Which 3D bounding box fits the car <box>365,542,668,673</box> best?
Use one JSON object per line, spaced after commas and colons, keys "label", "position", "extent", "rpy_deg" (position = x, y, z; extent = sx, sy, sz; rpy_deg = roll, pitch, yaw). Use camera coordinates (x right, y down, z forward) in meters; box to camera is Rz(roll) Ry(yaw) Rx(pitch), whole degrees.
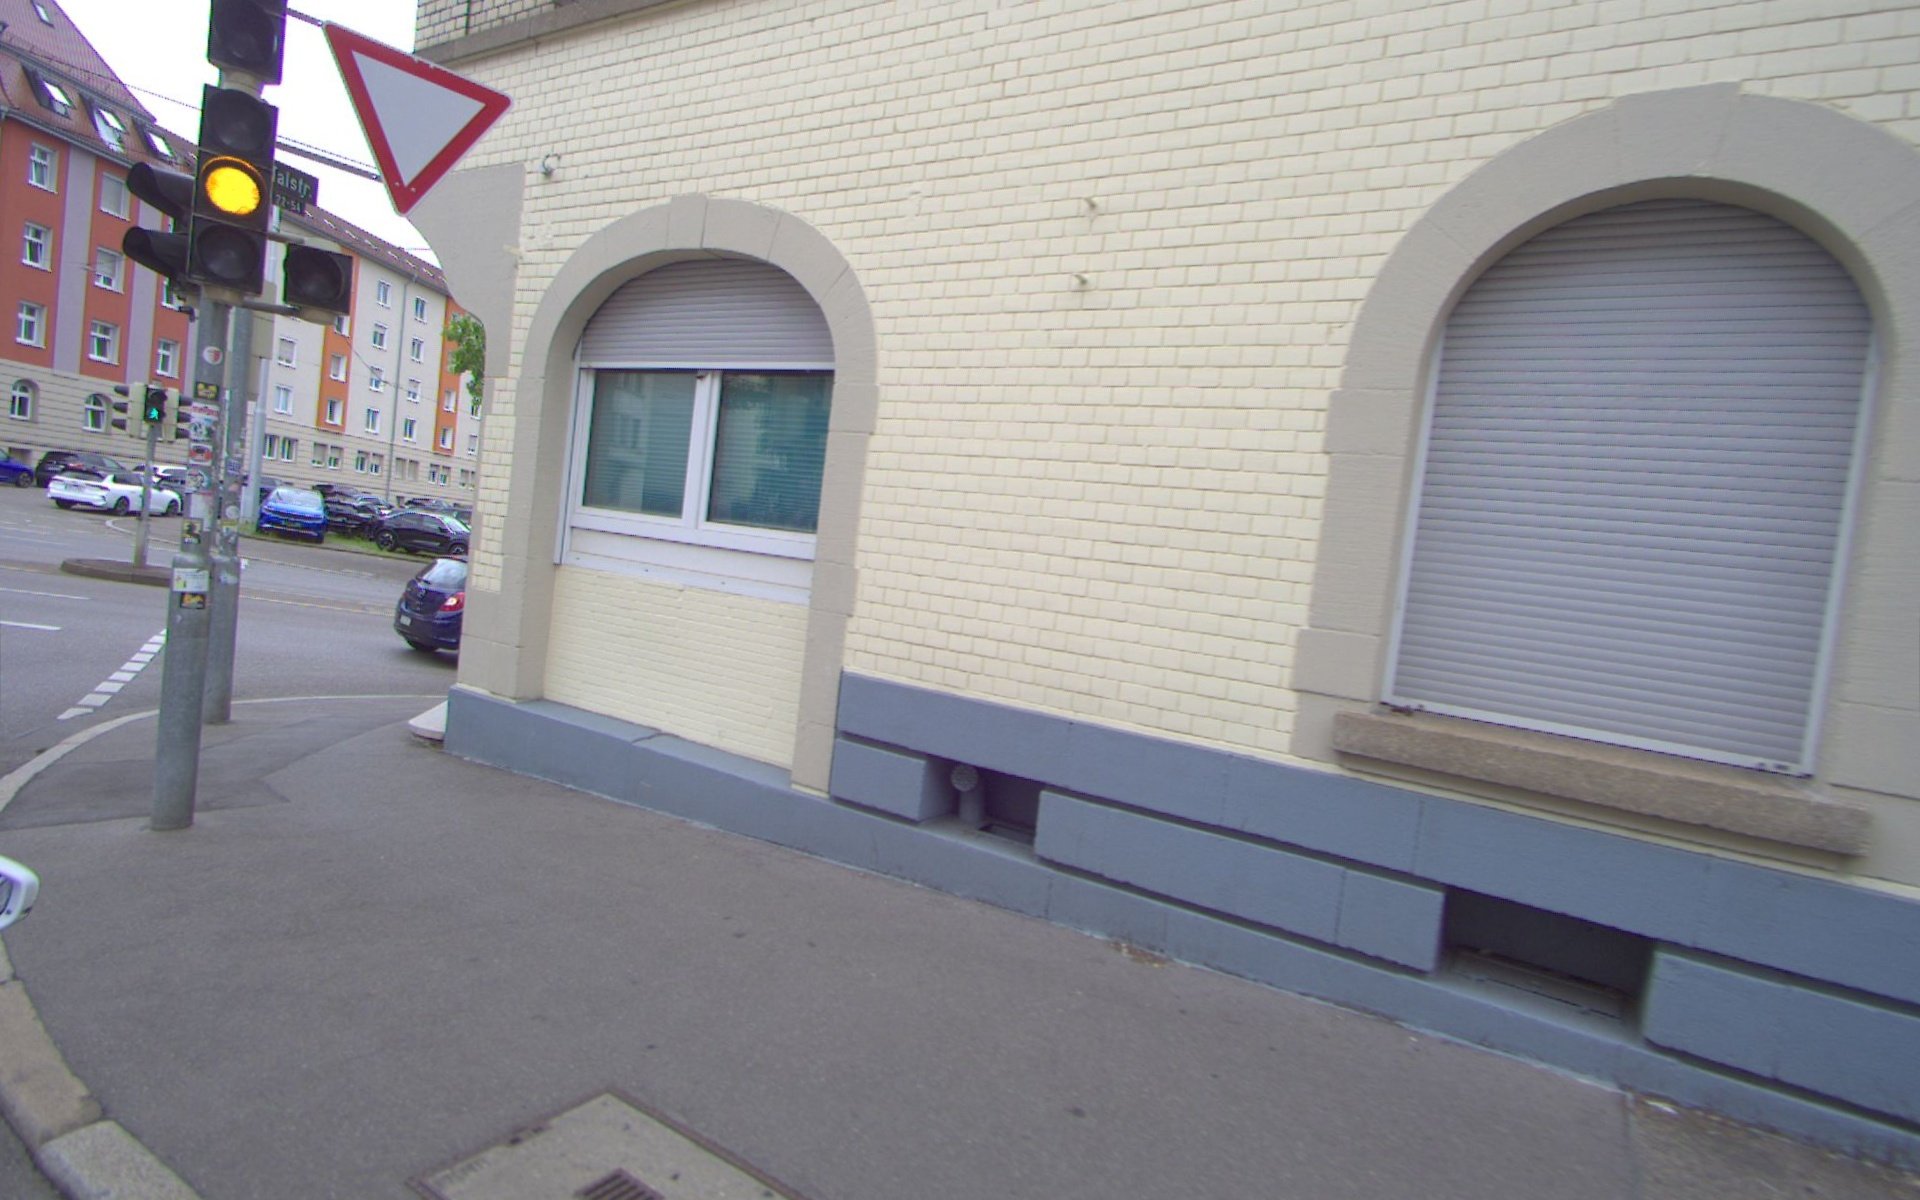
{"label": "car", "position": [-6.398, 0.200, 14.940], "extent": [1.729, 1.464, 3.749], "rpy_deg": [10, 0, 26]}

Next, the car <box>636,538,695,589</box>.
{"label": "car", "position": [-11.805, -1.489, 40.154], "extent": [1.838, 1.570, 3.977], "rpy_deg": [9, 2, -21]}

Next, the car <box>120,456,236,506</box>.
{"label": "car", "position": [-36.231, -5.464, 46.769], "extent": [1.884, 1.654, 4.137], "rpy_deg": [10, 3, 2]}

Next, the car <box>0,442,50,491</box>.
{"label": "car", "position": [-35.353, -4.928, 36.099], "extent": [1.887, 1.554, 4.129], "rpy_deg": [10, 3, -9]}

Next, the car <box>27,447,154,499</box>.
{"label": "car", "position": [-35.914, -5.200, 41.710], "extent": [1.887, 1.554, 4.130], "rpy_deg": [10, 3, -8]}

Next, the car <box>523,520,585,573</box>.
{"label": "car", "position": [-15.924, -2.122, 39.364], "extent": [1.841, 1.570, 3.970], "rpy_deg": [8, 2, -26]}

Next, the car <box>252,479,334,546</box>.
{"label": "car", "position": [-21.724, -2.909, 32.900], "extent": [1.812, 1.597, 4.220], "rpy_deg": [9, 3, -31]}

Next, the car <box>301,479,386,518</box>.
{"label": "car", "position": [-35.428, -5.797, 57.935], "extent": [1.883, 1.654, 4.138], "rpy_deg": [10, 3, 5]}

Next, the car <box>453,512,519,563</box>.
{"label": "car", "position": [-18.462, -2.494, 39.335], "extent": [1.838, 1.570, 3.977], "rpy_deg": [9, 2, -21]}

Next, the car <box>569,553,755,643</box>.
{"label": "car", "position": [-7.603, -0.055, 25.648], "extent": [4.204, 1.544, 1.988], "rpy_deg": [9, 0, -24]}

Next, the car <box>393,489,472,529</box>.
{"label": "car", "position": [-29.020, -5.003, 55.488], "extent": [1.884, 1.666, 4.136], "rpy_deg": [10, 3, 1]}

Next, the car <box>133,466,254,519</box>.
{"label": "car", "position": [-29.324, -4.059, 38.656], "extent": [1.888, 1.554, 4.128], "rpy_deg": [10, 3, -10]}

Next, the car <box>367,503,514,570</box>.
{"label": "car", "position": [-17.859, -2.152, 34.706], "extent": [3.929, 1.495, 1.827], "rpy_deg": [11, 3, 1]}

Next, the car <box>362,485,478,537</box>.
{"label": "car", "position": [-24.236, -3.987, 45.266], "extent": [4.047, 1.554, 1.790], "rpy_deg": [10, 3, -4]}

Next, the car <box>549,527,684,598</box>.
{"label": "car", "position": [-12.480, -1.399, 36.703], "extent": [4.096, 1.631, 1.824], "rpy_deg": [11, 8, 0]}

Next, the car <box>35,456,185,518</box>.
{"label": "car", "position": [-28.118, -3.695, 33.467], "extent": [1.888, 1.554, 4.126], "rpy_deg": [9, 3, -12]}

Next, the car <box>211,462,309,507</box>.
{"label": "car", "position": [-36.134, -5.919, 52.047], "extent": [1.884, 1.654, 4.137], "rpy_deg": [10, 3, 2]}
